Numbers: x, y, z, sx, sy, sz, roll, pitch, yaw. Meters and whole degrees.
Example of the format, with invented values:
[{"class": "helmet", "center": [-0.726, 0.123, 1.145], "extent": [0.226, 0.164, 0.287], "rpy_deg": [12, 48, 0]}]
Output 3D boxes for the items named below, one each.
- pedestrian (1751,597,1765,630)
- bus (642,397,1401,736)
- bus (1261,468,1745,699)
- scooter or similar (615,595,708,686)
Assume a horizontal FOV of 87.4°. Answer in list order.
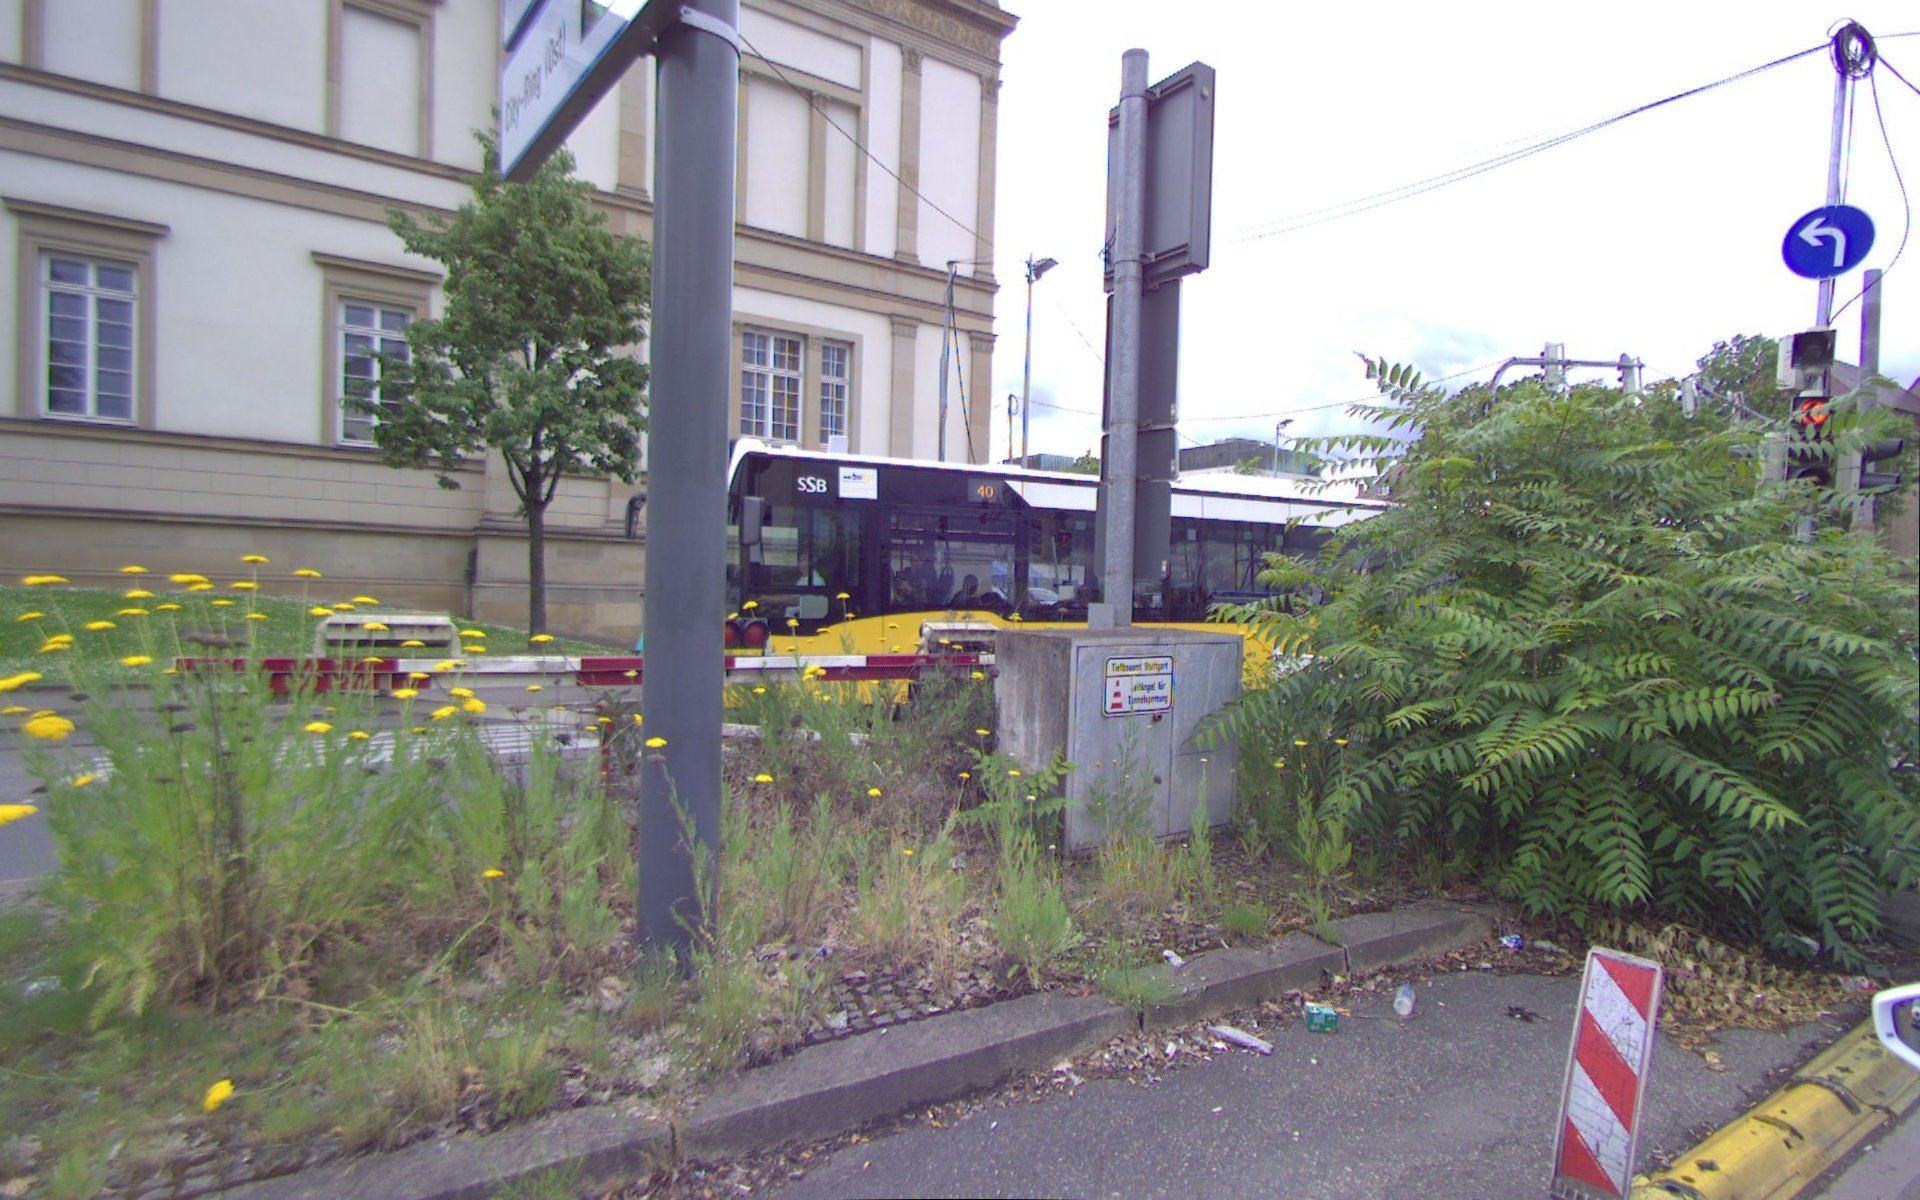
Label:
[{"class": "pedestrian", "center": [50.207, 0.854, 63.191], "extent": [0.516, 2.040, 0.428], "rpy_deg": [2, 1, 17]}, {"class": "bus", "center": [1.160, -0.255, 12.870], "extent": [9.626, 3.156, 2.834], "rpy_deg": [1, 1, -28]}, {"class": "bus", "center": [9.501, -0.174, 17.169], "extent": [9.010, 3.156, 2.833], "rpy_deg": [1, 1, -29]}, {"class": "scooter or similar", "center": [-4.300, 0.581, 14.537], "extent": [1.132, 1.190, 0.540], "rpy_deg": [6, 0, -10]}]
